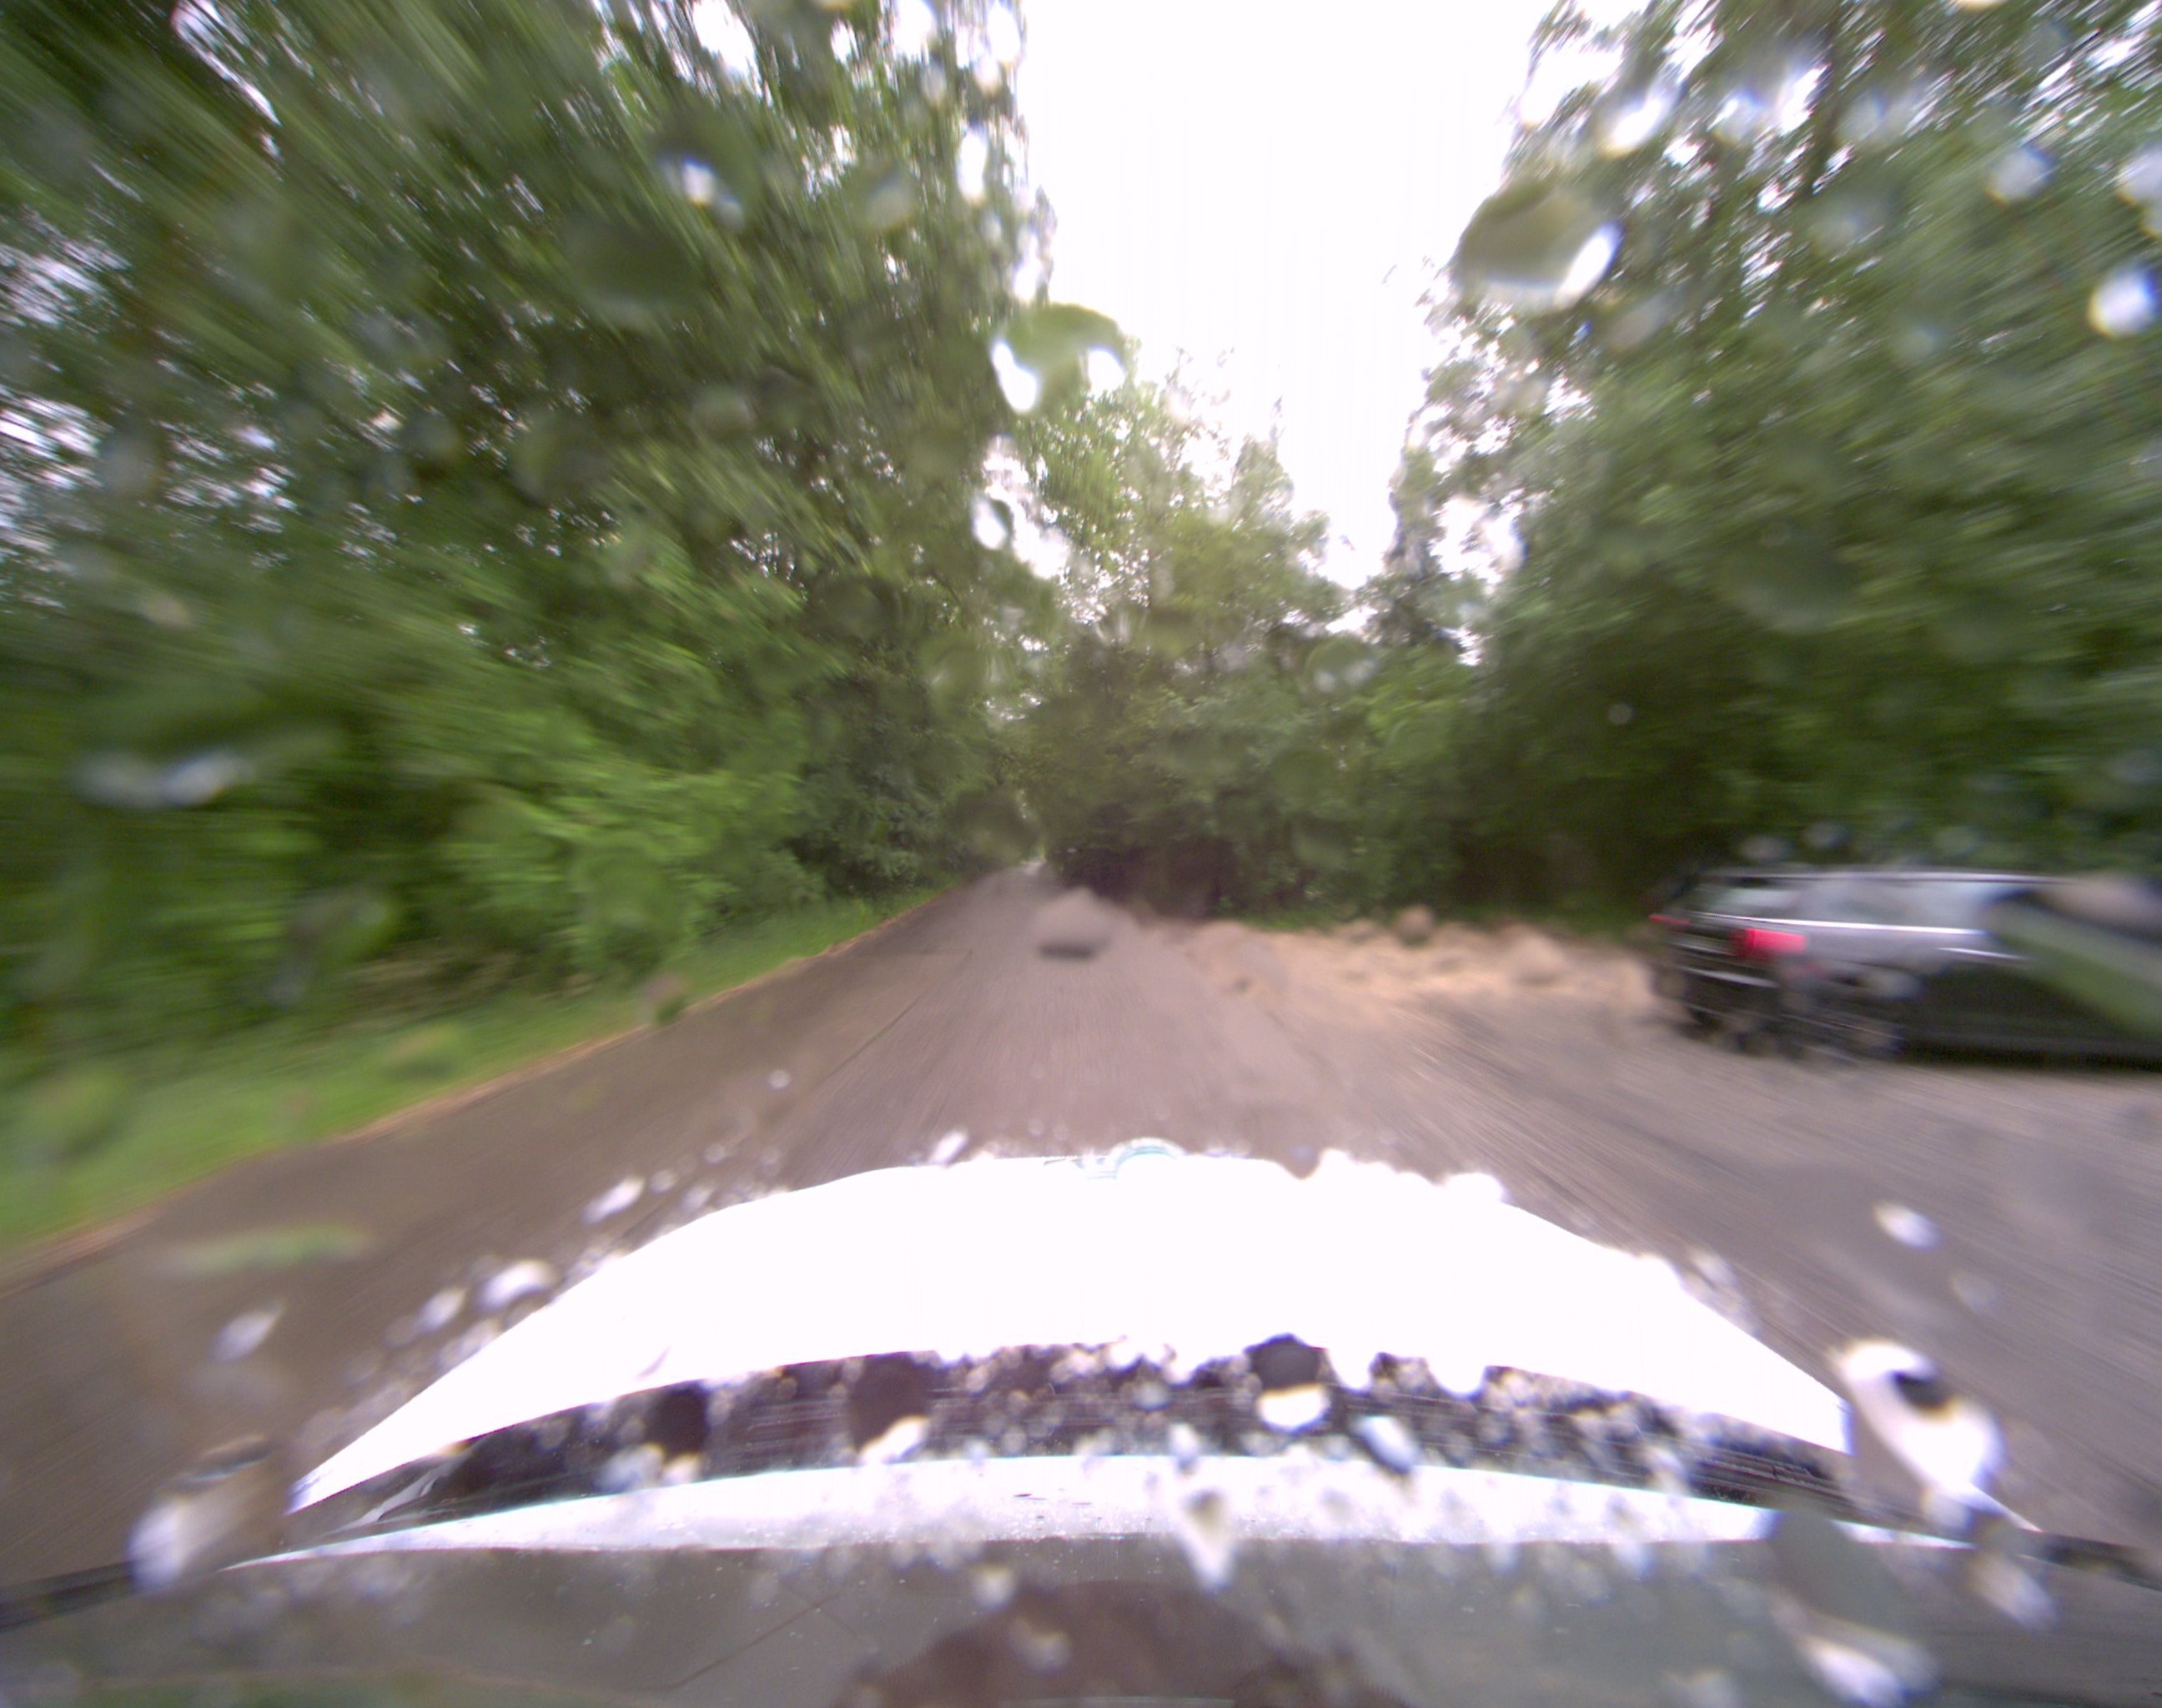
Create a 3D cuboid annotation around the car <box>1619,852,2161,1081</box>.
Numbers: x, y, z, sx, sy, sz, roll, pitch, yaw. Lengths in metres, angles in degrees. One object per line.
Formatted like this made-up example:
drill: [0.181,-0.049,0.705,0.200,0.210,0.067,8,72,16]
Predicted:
car: [6.615,0.767,6.324,3.687,1.436,1.710,2,0,7]
